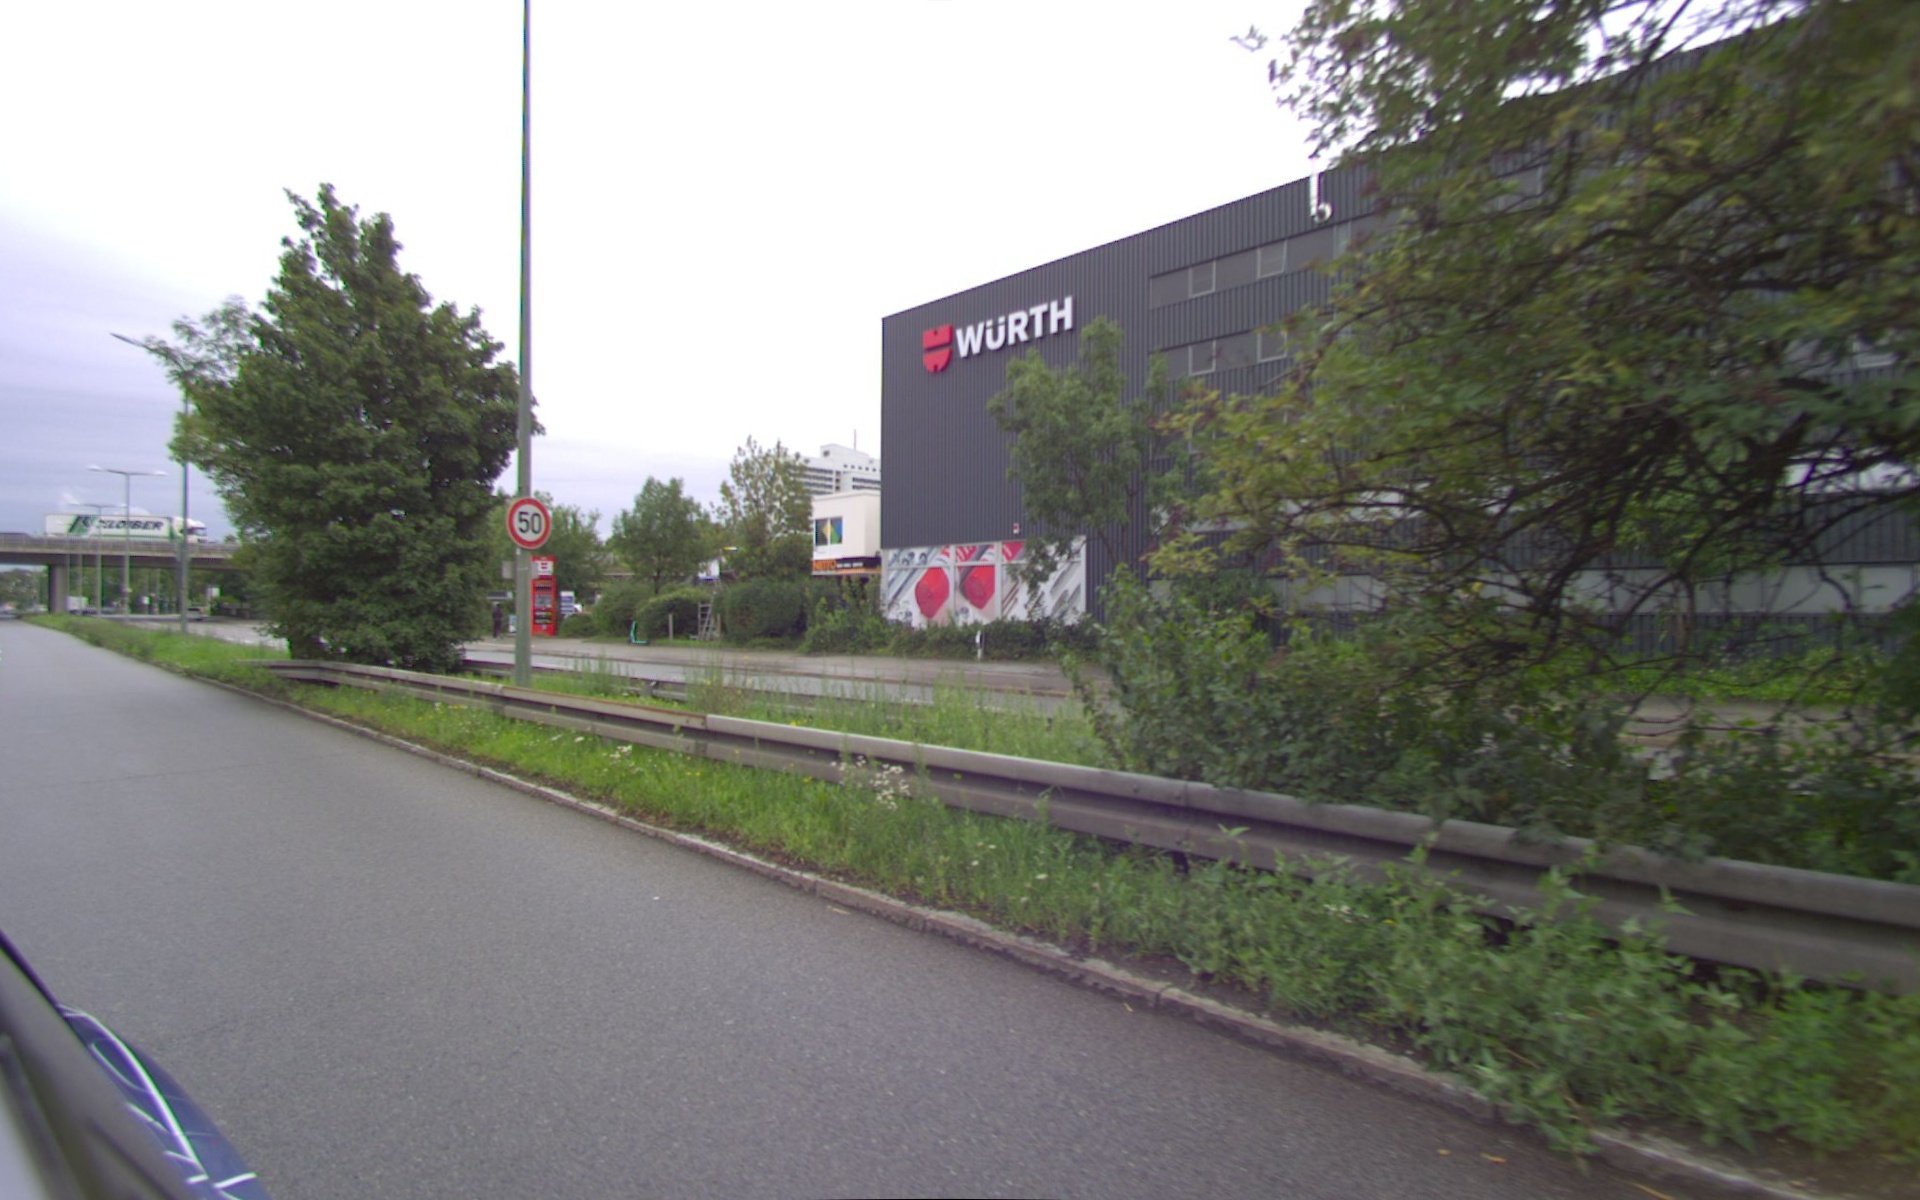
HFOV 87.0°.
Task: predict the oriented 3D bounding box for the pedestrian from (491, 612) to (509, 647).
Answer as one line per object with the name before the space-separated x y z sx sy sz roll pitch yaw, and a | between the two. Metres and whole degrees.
pedestrian | -24.537 1.555 53.945 0.615 1.844 0.818 1 -2 -43

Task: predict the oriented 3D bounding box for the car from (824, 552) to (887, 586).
car | -8.524 -2.545 82.915 4.725 2.387 2.137 4 -1 -43

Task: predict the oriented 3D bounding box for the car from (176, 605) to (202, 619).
car | -90.196 1.443 118.370 1.970 1.584 4.578 2 -1 -43

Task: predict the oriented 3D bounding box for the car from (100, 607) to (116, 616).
car | -157.133 2.155 186.632 1.946 1.407 4.820 3 -1 -44

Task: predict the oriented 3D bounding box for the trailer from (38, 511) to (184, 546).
trailer | -97.541 -8.181 116.428 13.845 3.323 2.669 2 0 -5

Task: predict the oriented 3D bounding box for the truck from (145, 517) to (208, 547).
truck | -90.577 -7.849 117.061 5.114 3.270 2.600 1 0 -5

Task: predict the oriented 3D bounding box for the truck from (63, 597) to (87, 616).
truck | -151.790 1.055 173.509 7.233 3.000 2.228 0 -3 43

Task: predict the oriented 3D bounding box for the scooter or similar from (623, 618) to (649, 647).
scooter or similar | -13.928 1.393 43.493 1.388 1.236 0.440 -1 -1 45

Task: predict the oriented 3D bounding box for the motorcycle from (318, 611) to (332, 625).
motorcycle | -54.261 1.526 86.502 0.527 1.185 2.197 1 -1 -44

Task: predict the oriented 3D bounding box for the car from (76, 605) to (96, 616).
car | -139.545 1.659 161.646 4.593 1.595 1.947 1 -3 44
